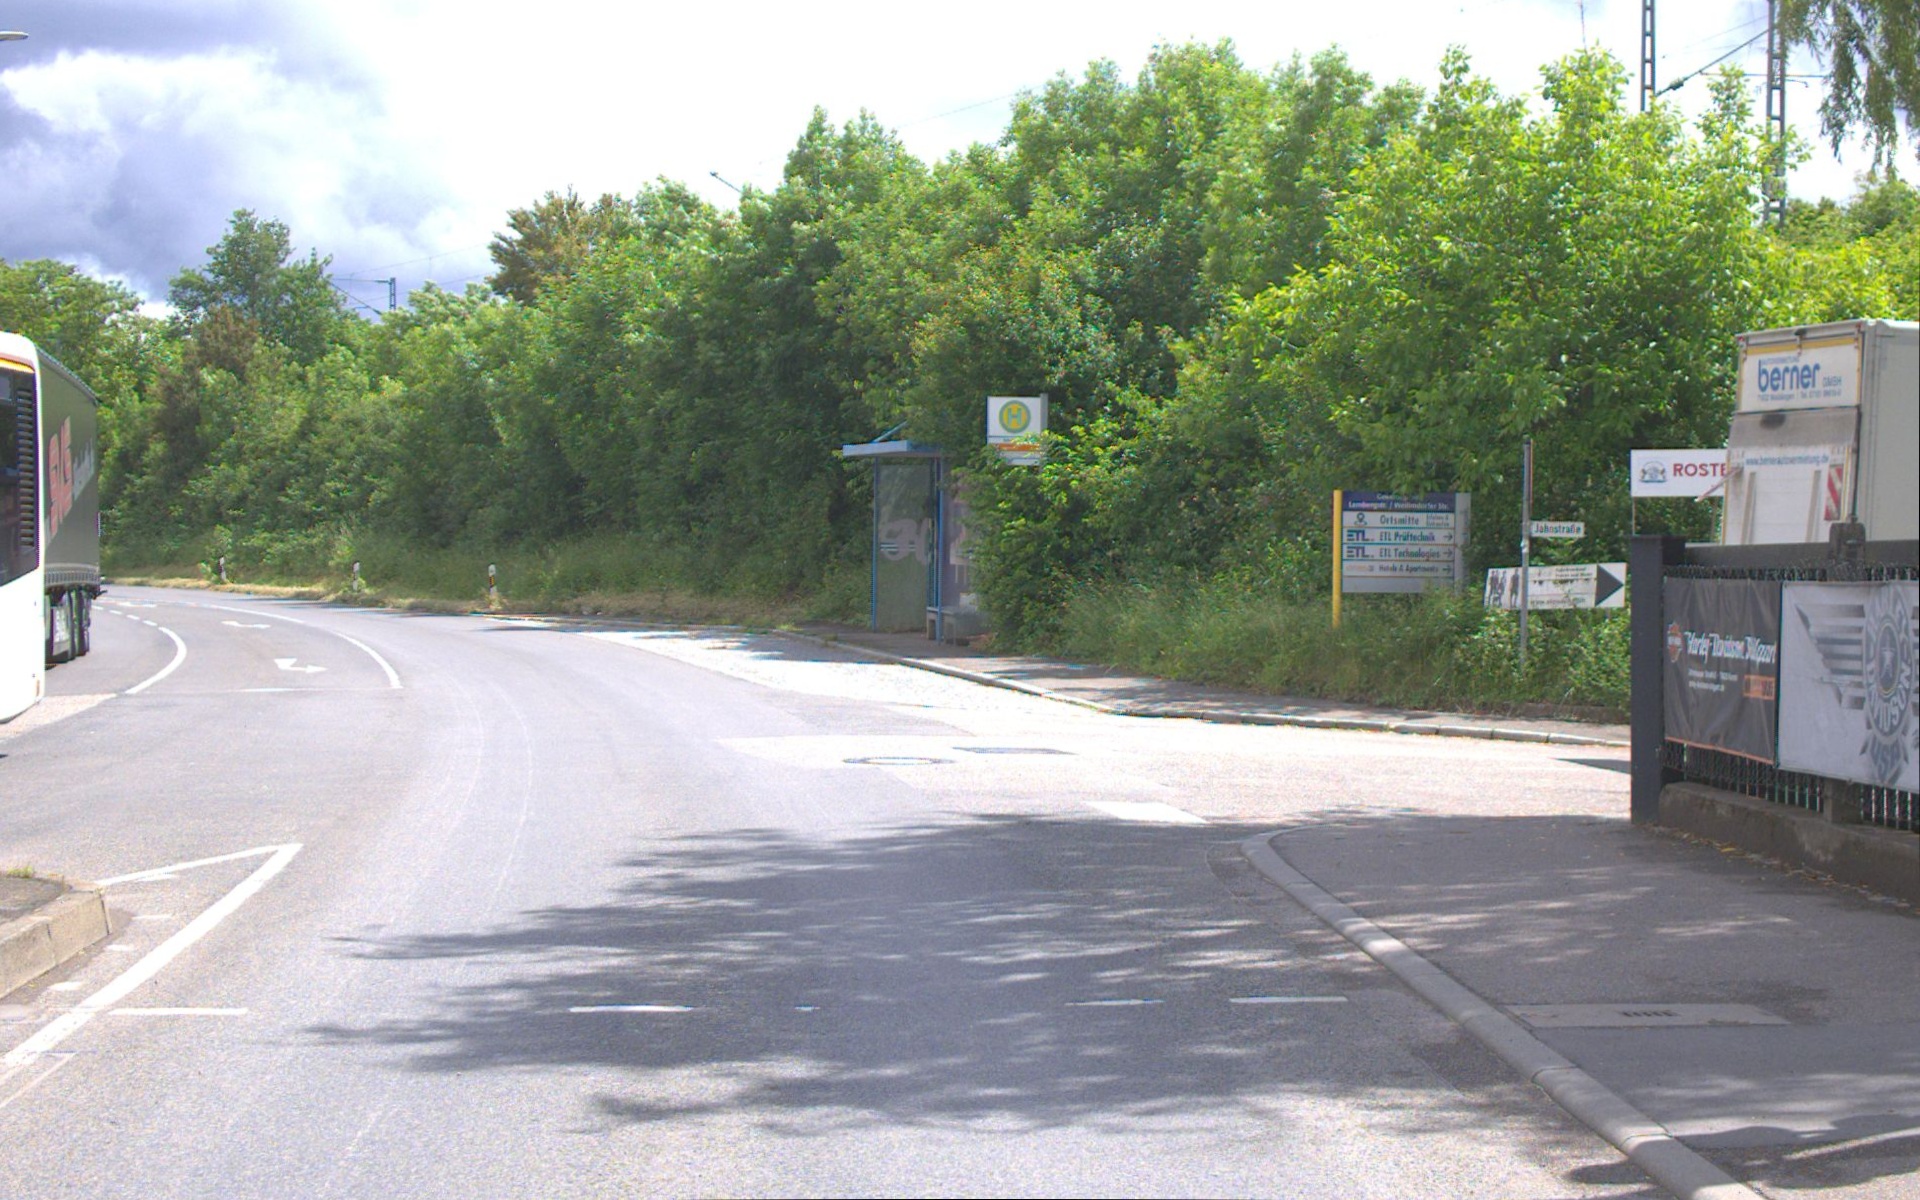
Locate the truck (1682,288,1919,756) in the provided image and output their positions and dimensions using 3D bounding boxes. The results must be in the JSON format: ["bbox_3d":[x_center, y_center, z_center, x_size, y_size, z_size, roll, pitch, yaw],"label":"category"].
[{"bbox_3d":[11.147,-0.441,28.204,9.690,3.528,2.850,2,1,-8],"label":"truck"}]

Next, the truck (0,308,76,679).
[{"bbox_3d":[-12.189,-1.235,40.181,2.428,4.117,9.152,2,0,-8],"label":"truck"}]

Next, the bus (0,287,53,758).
[{"bbox_3d":[-7.956,-0.469,19.073,2.777,3.255,12.124,-1,1,-1],"label":"bus"}]
